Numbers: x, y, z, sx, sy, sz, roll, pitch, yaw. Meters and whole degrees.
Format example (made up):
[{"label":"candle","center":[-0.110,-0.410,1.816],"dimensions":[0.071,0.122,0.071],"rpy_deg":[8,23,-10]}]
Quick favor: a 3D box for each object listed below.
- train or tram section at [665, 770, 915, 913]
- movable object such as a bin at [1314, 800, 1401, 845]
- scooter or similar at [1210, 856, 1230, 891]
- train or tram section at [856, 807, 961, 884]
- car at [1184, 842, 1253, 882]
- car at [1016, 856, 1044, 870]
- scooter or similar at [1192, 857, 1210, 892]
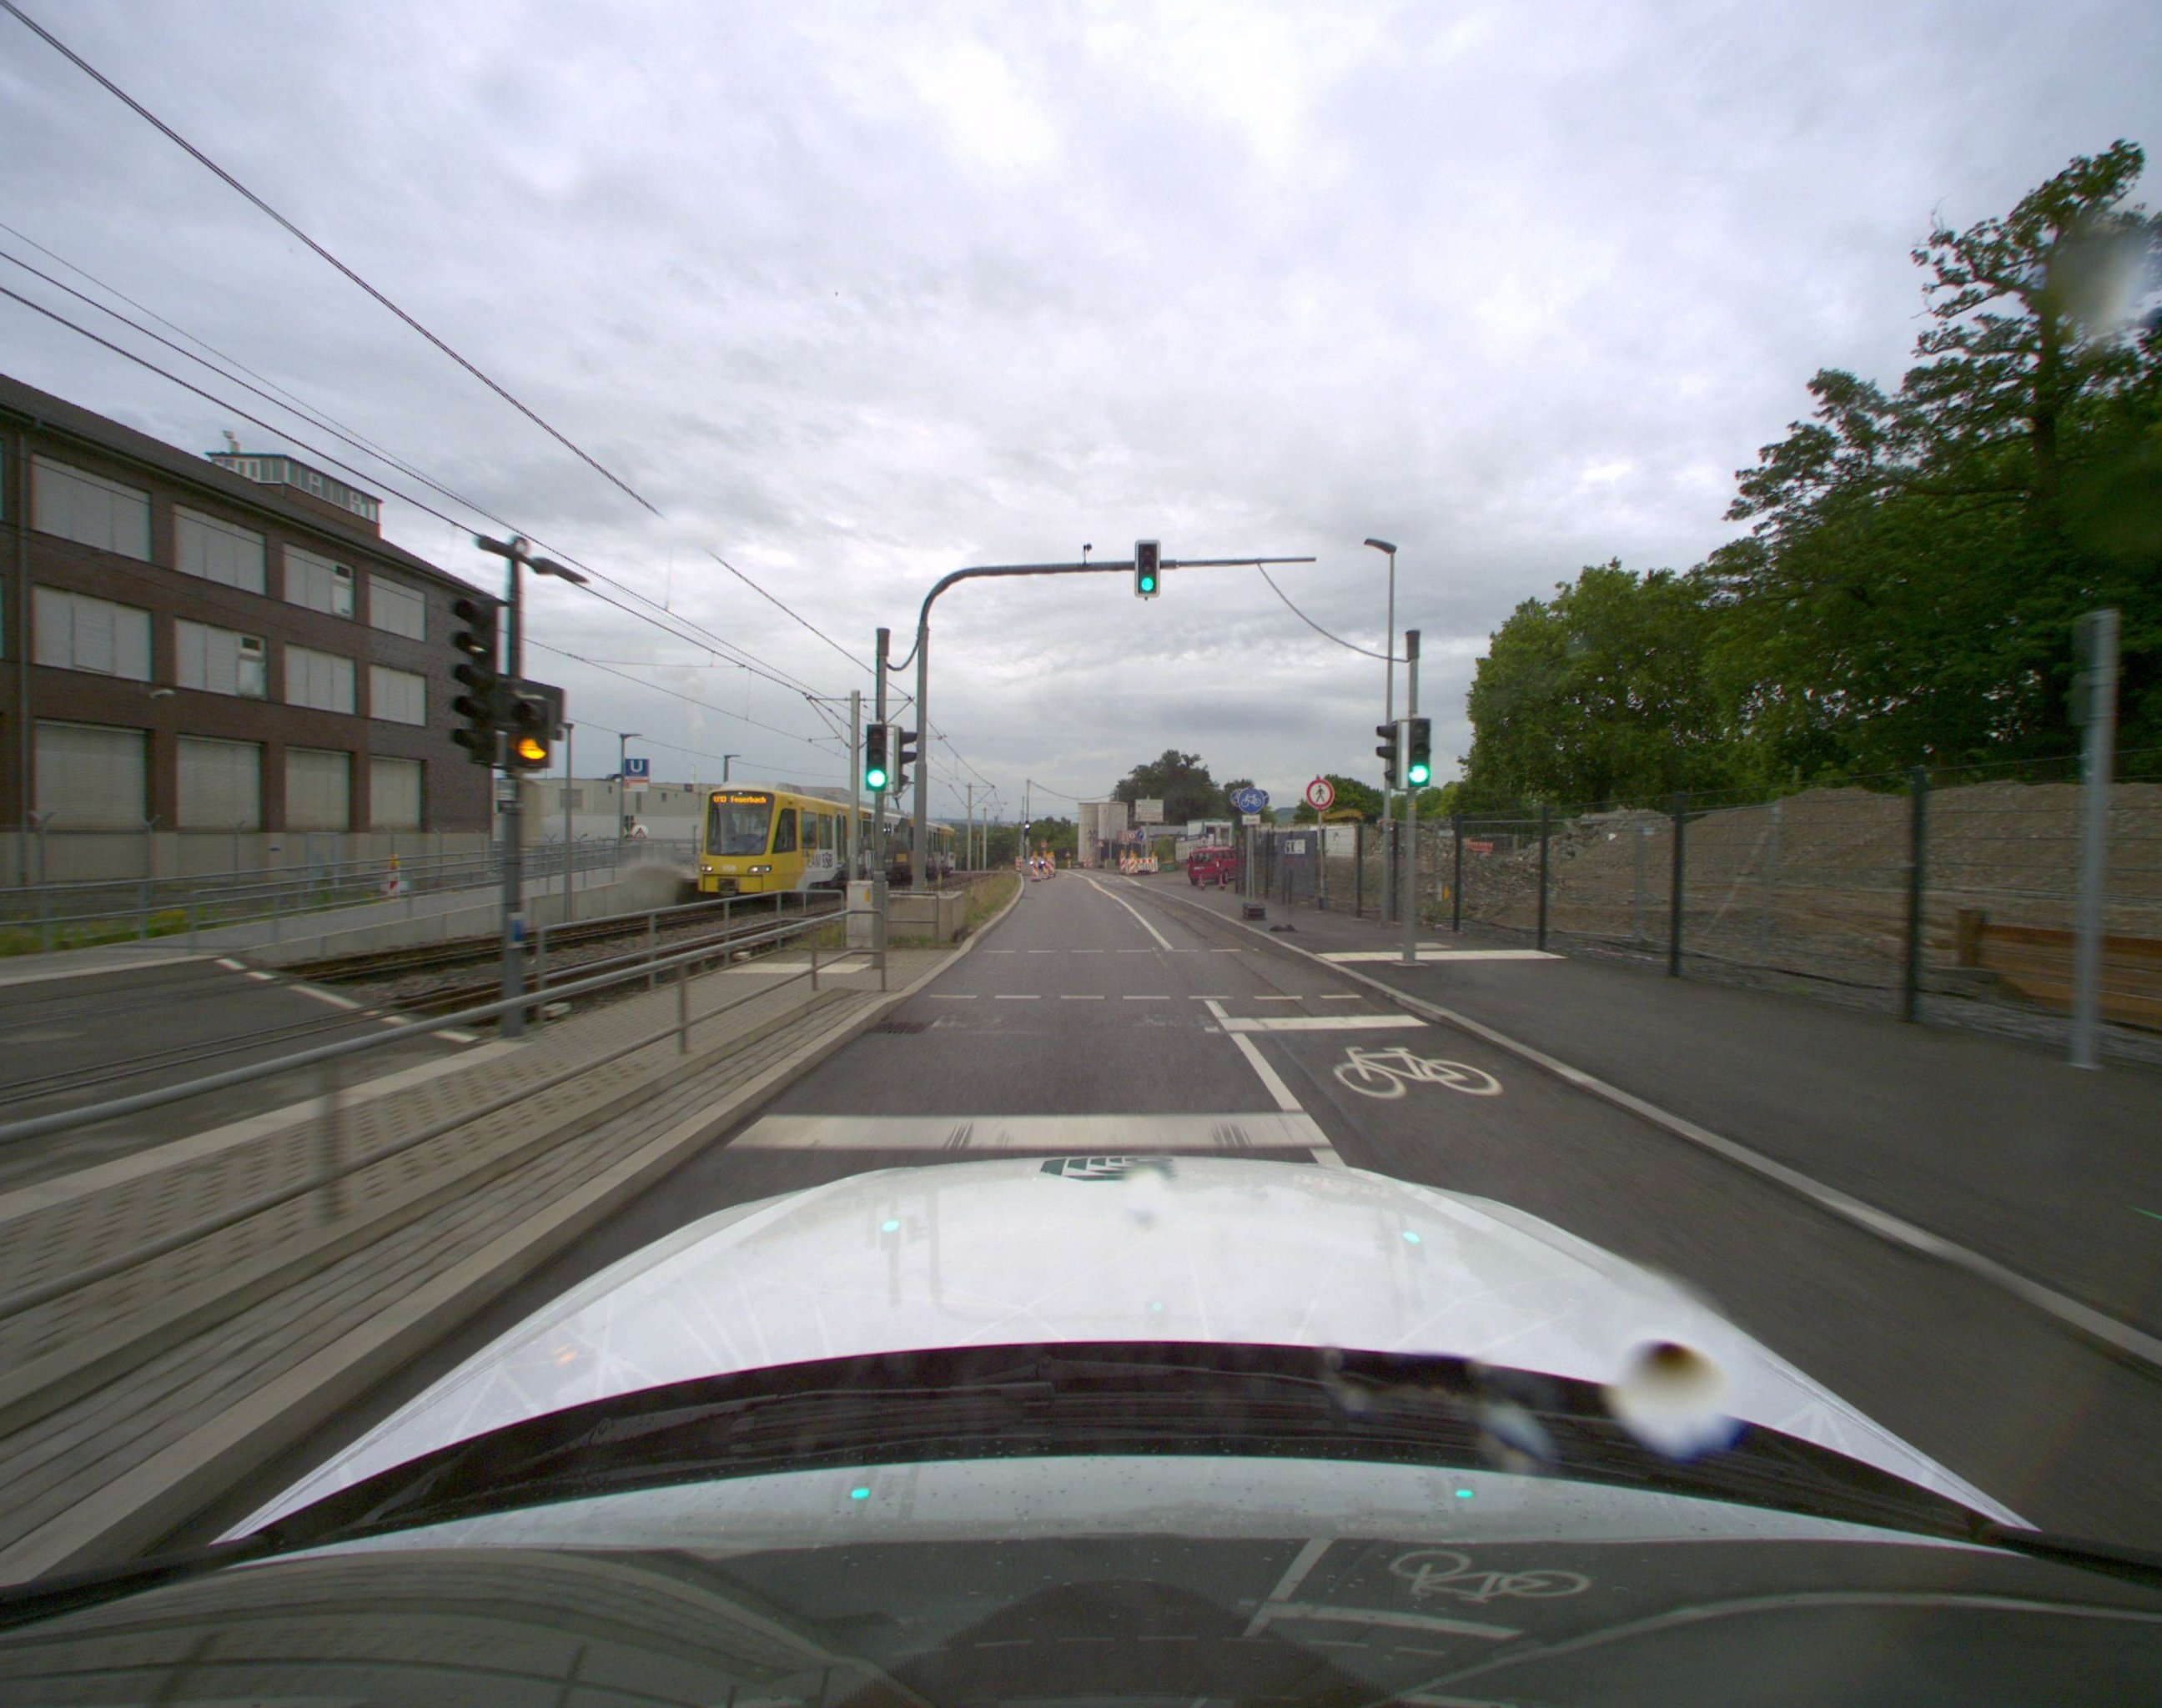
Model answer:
[{"label":"train or tram section","center":[-9.992,-0.359,32.150],"dimensions":[2.946,3.886,19.566],"rpy_deg":[1,0,-1]},{"label":"movable object such as a bin","center":[39.152,-4.379,115.817],"dimensions":[11.175,5.995,3.497],"rpy_deg":[-1,-1,6]},{"label":"scooter or similar","center":[5.524,0.745,32.360],"dimensions":[0.612,1.351,1.914],"rpy_deg":[0,0,5]},{"label":"train or tram section","center":[-10.299,-0.452,51.550],"dimensions":[2.947,3.886,19.278],"rpy_deg":[1,0,-1]},{"label":"car","center":[6.474,0.337,38.023],"dimensions":[1.802,1.794,4.436],"rpy_deg":[0,0,29]},{"label":"car","center":[-6.160,1.064,97.926],"dimensions":[2.002,1.678,4.454],"rpy_deg":[-1,-1,-23]},{"label":"scooter or similar","center":[4.788,0.787,32.538],"dimensions":[0.612,1.351,1.914],"rpy_deg":[0,0,5]}]
